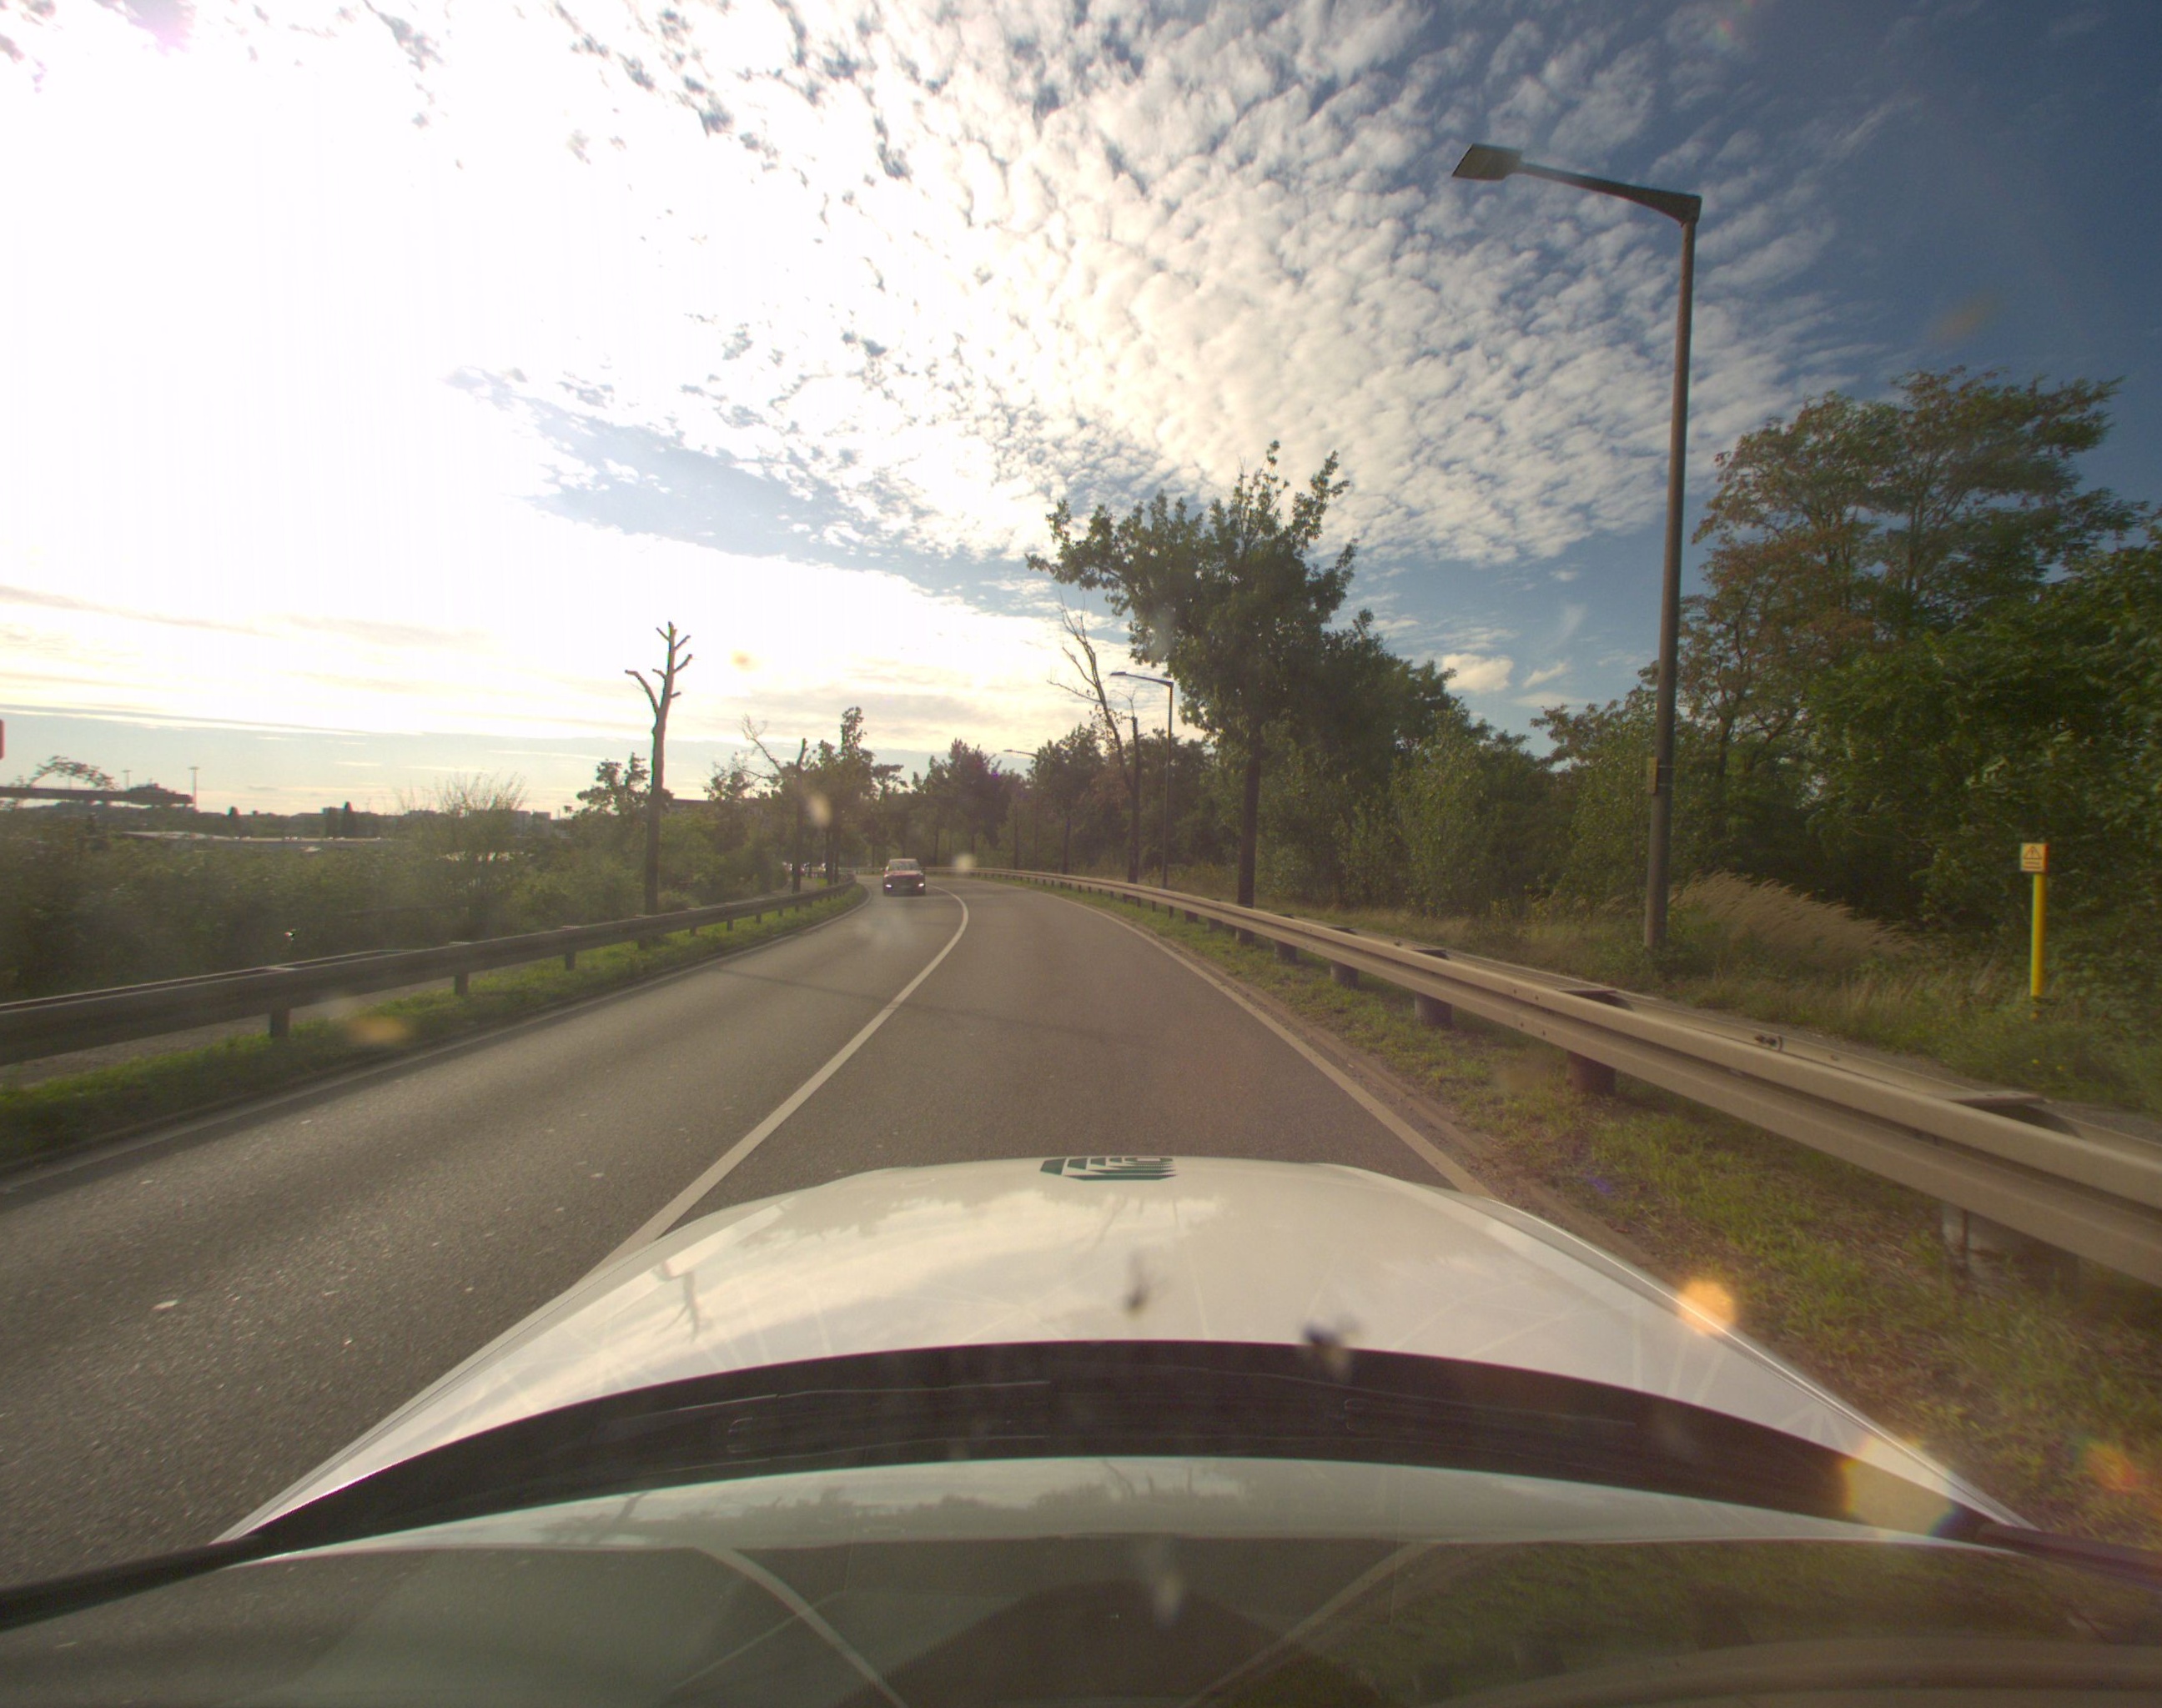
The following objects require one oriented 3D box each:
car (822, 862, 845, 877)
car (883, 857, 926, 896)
[{"bbox_3d":[-24.072,1.495,79.138,1.806,1.425,3.845,-1,0,-21],"label":"car"},{"bbox_3d":[-8.246,0.997,38.025,1.811,1.674,4.278,-1,0,-13],"label":"car"}]
